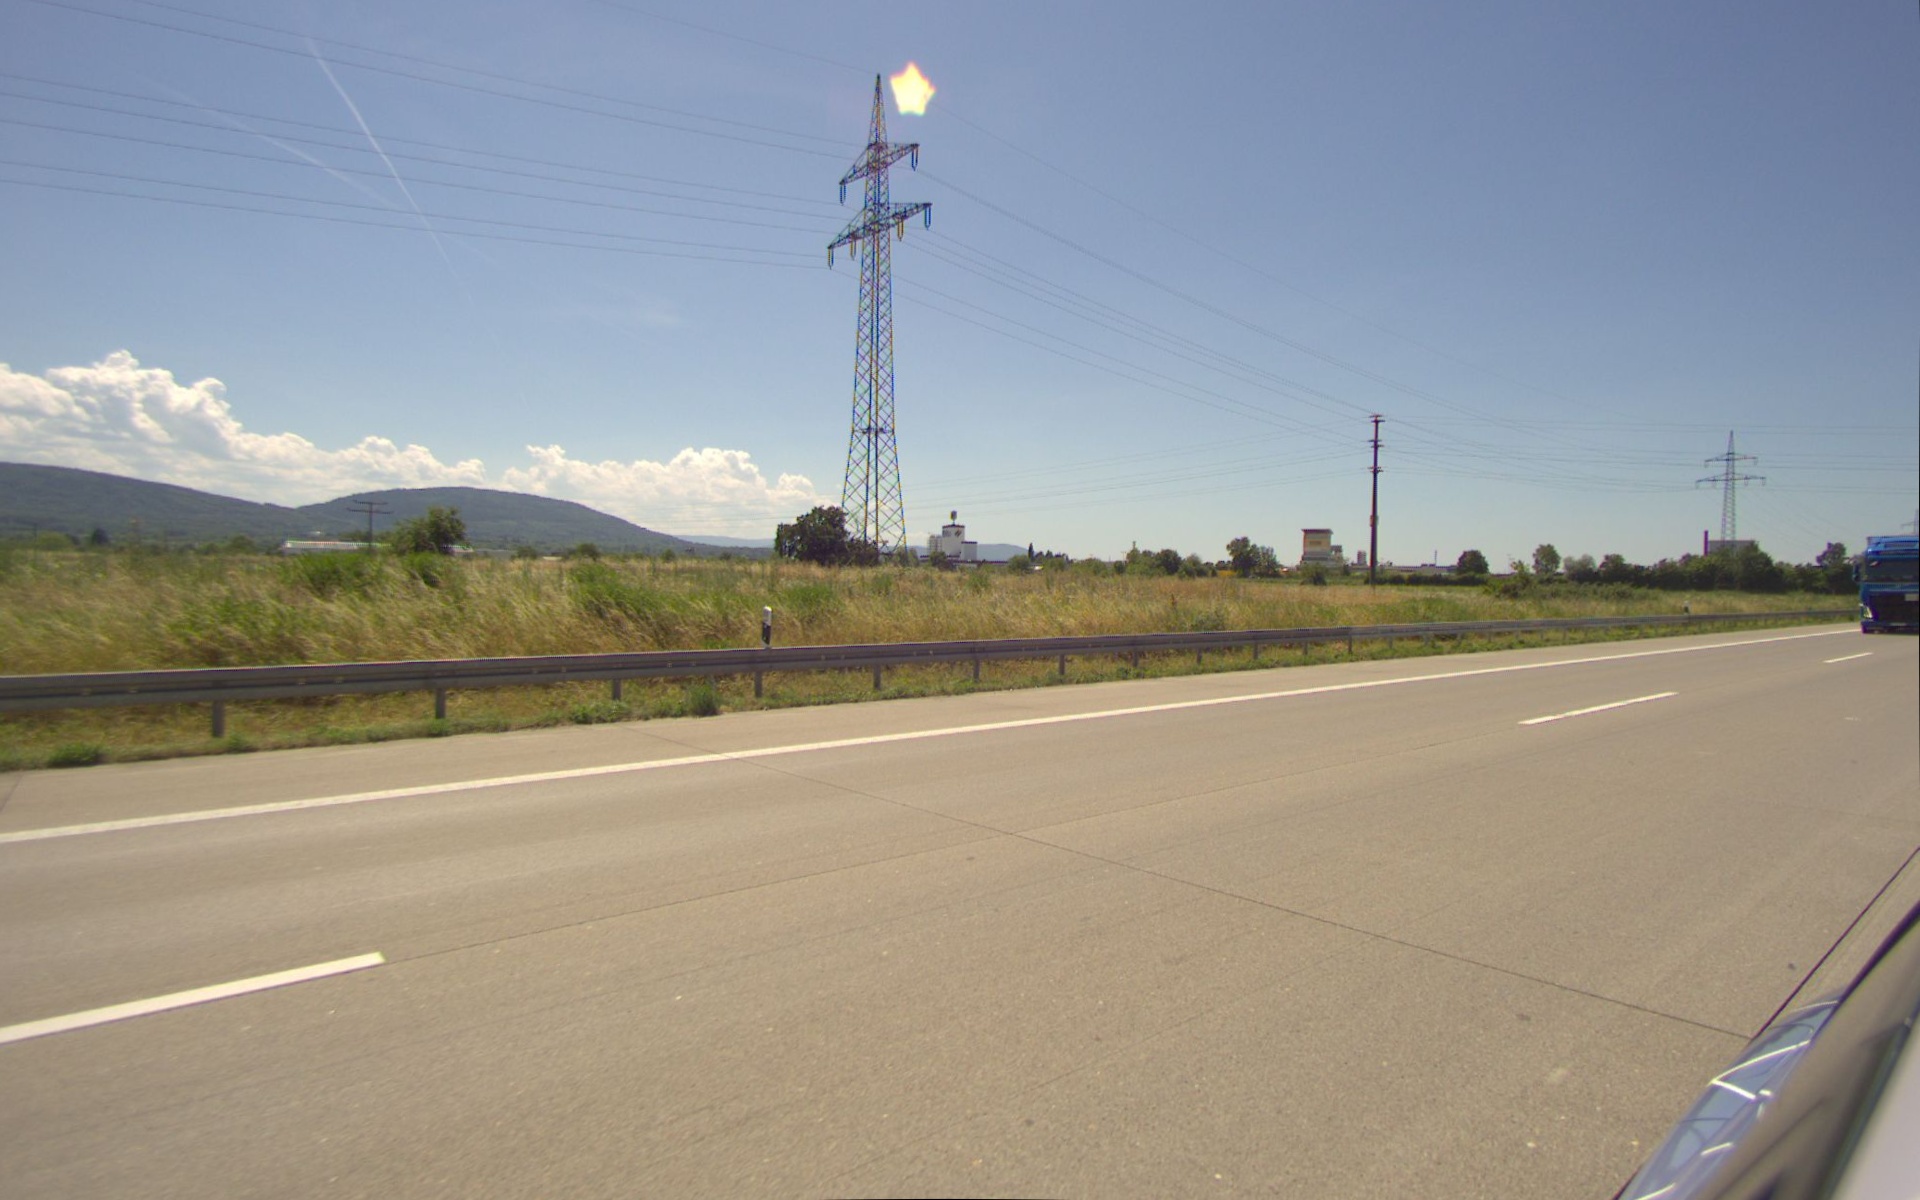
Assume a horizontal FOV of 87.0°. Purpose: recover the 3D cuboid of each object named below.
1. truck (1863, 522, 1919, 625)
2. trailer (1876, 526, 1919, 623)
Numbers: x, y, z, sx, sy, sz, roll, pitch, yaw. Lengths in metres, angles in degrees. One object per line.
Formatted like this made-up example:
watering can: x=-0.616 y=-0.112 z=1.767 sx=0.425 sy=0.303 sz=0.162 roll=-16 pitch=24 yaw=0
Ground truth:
truck: x=40.000 y=-1.060 z=42.186 sx=5.369 sy=4.095 sz=2.756 roll=0 pitch=0 yaw=-40
trailer: x=45.208 y=-1.102 z=46.601 sx=12.673 sy=4.095 sz=2.714 roll=0 pitch=0 yaw=-40
